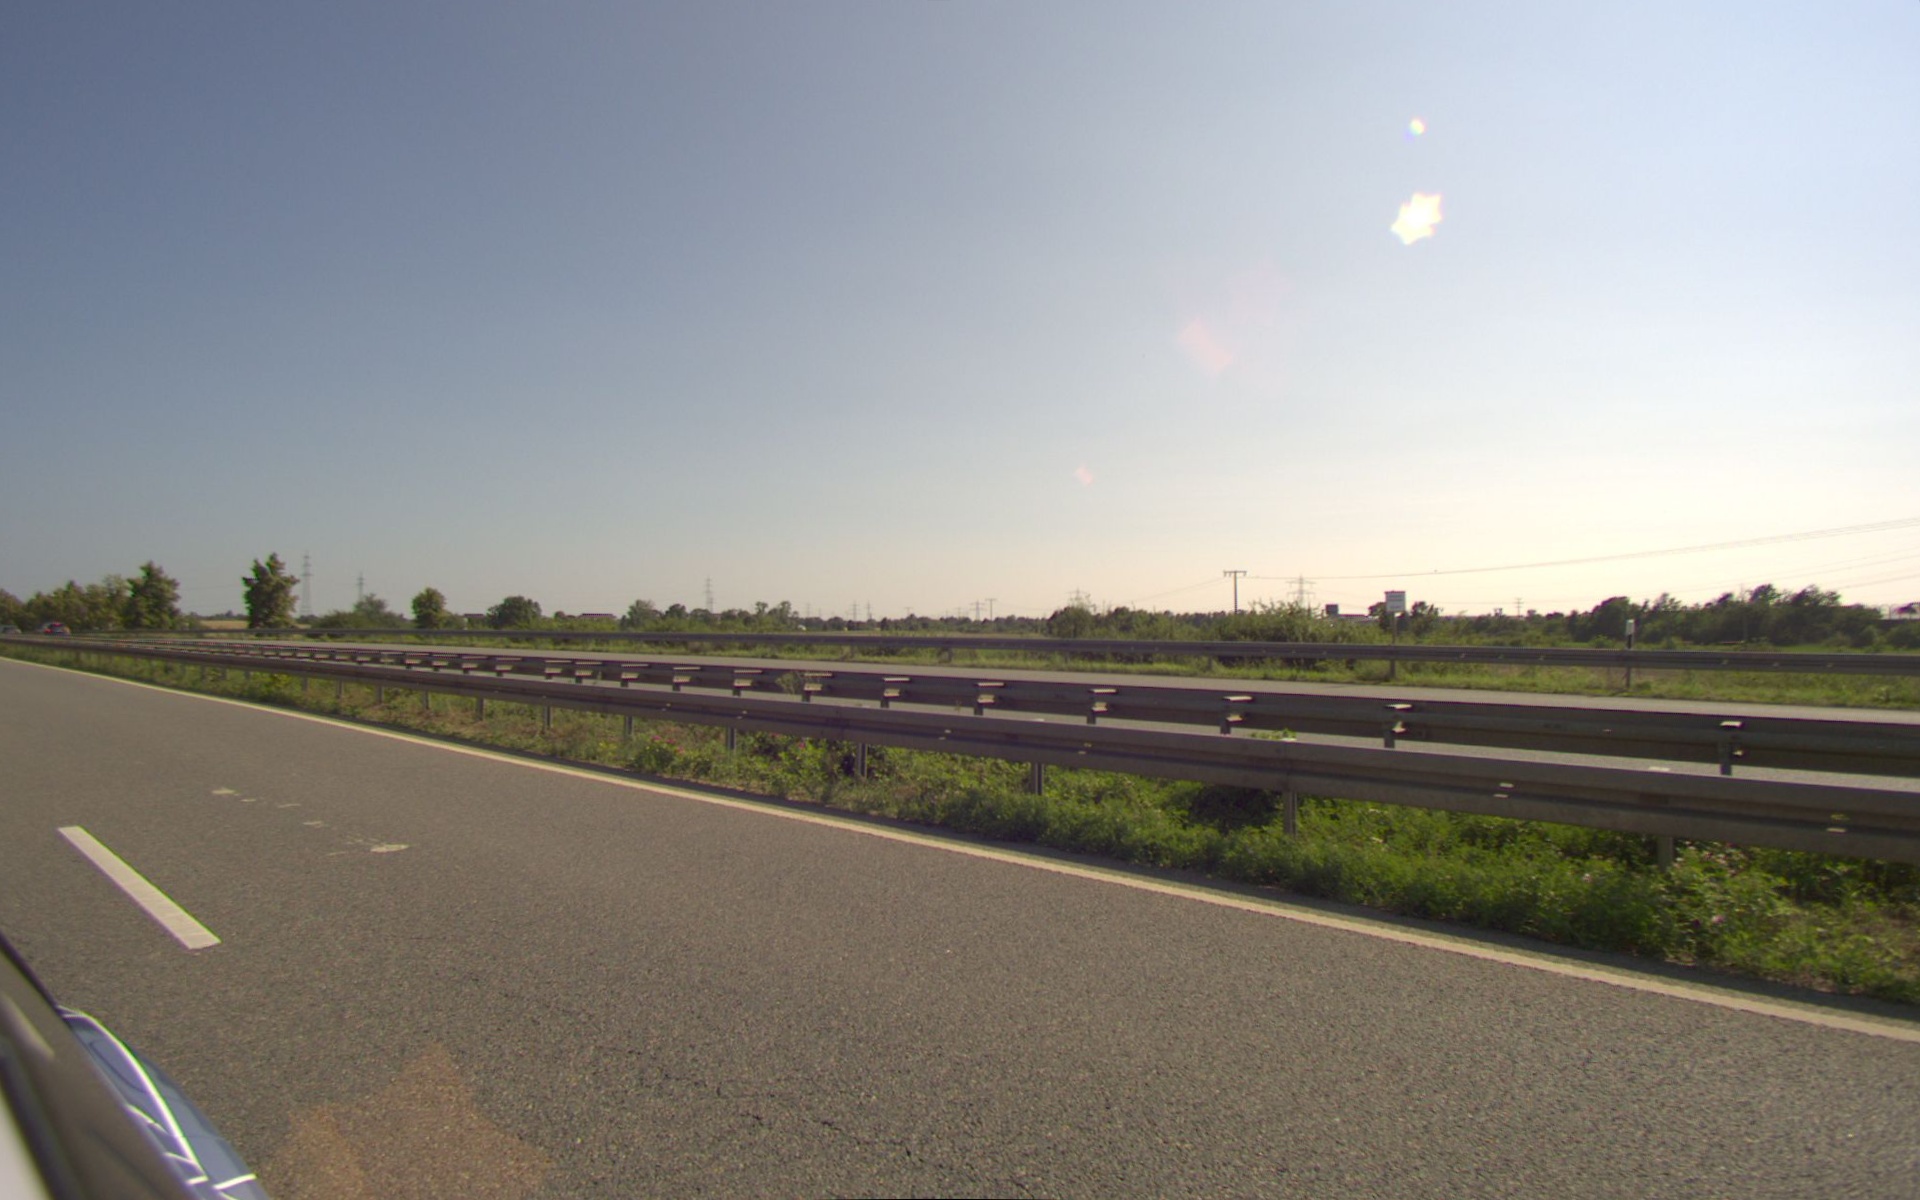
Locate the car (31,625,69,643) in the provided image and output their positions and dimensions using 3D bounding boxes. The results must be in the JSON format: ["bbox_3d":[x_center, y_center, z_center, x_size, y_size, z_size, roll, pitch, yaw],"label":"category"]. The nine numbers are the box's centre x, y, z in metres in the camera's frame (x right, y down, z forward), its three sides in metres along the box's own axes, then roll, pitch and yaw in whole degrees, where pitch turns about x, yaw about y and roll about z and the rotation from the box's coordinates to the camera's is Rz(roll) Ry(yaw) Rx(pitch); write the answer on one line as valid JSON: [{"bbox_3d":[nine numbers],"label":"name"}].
[{"bbox_3d":[-80.257,3.019,89.214,4.932,1.445,1.849,-1,1,41],"label":"car"}]

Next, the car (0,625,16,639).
[{"bbox_3d":[-102.302,3.433,108.059,4.320,1.461,1.696,-1,-1,40],"label":"car"}]
